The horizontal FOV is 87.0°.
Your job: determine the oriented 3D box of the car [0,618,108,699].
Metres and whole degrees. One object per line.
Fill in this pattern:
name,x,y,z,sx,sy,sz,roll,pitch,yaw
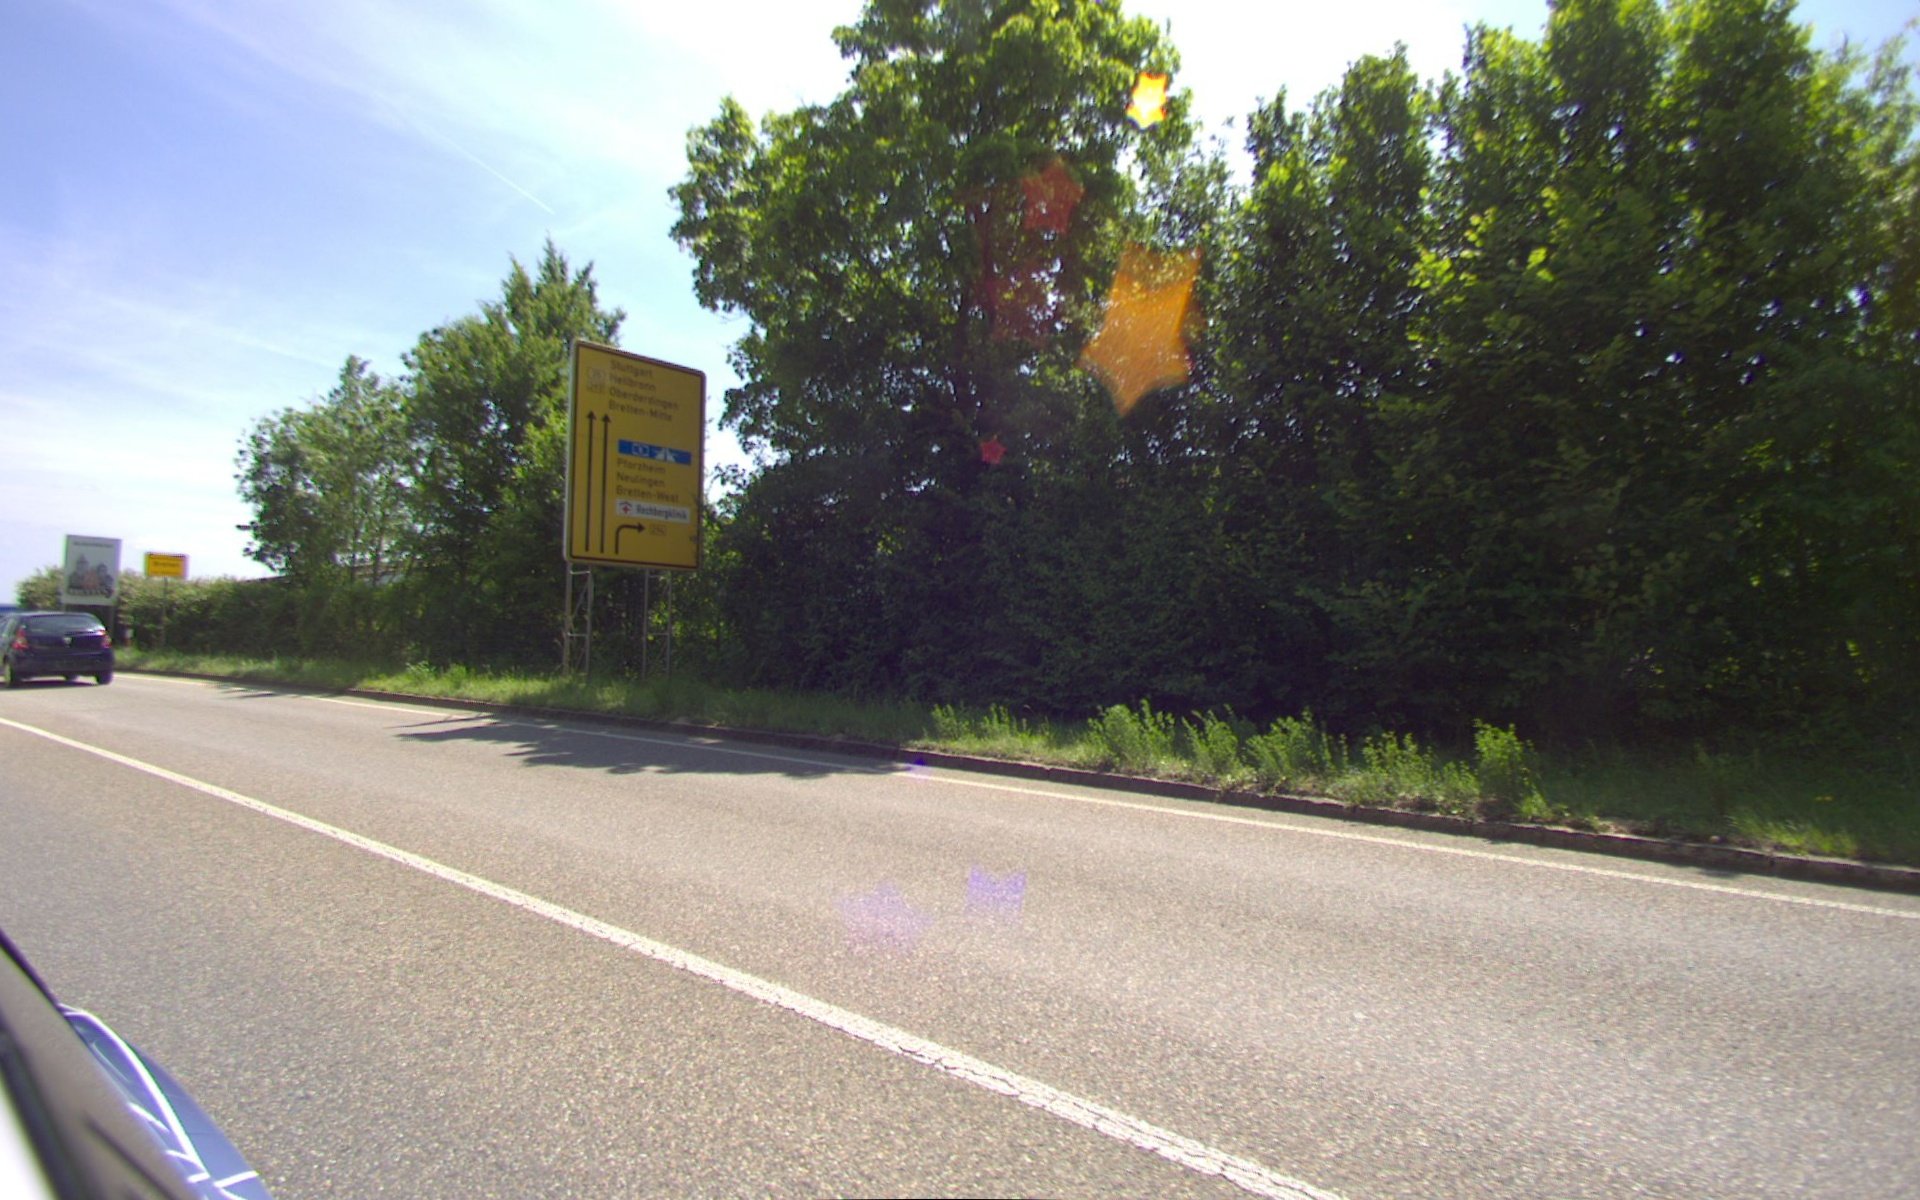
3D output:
car,-19.682,1.177,21.558,4.066,1.541,1.666,-1,-1,40

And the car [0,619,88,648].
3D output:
car,-46.875,1.685,51.110,1.998,1.342,3.948,-2,-5,39
